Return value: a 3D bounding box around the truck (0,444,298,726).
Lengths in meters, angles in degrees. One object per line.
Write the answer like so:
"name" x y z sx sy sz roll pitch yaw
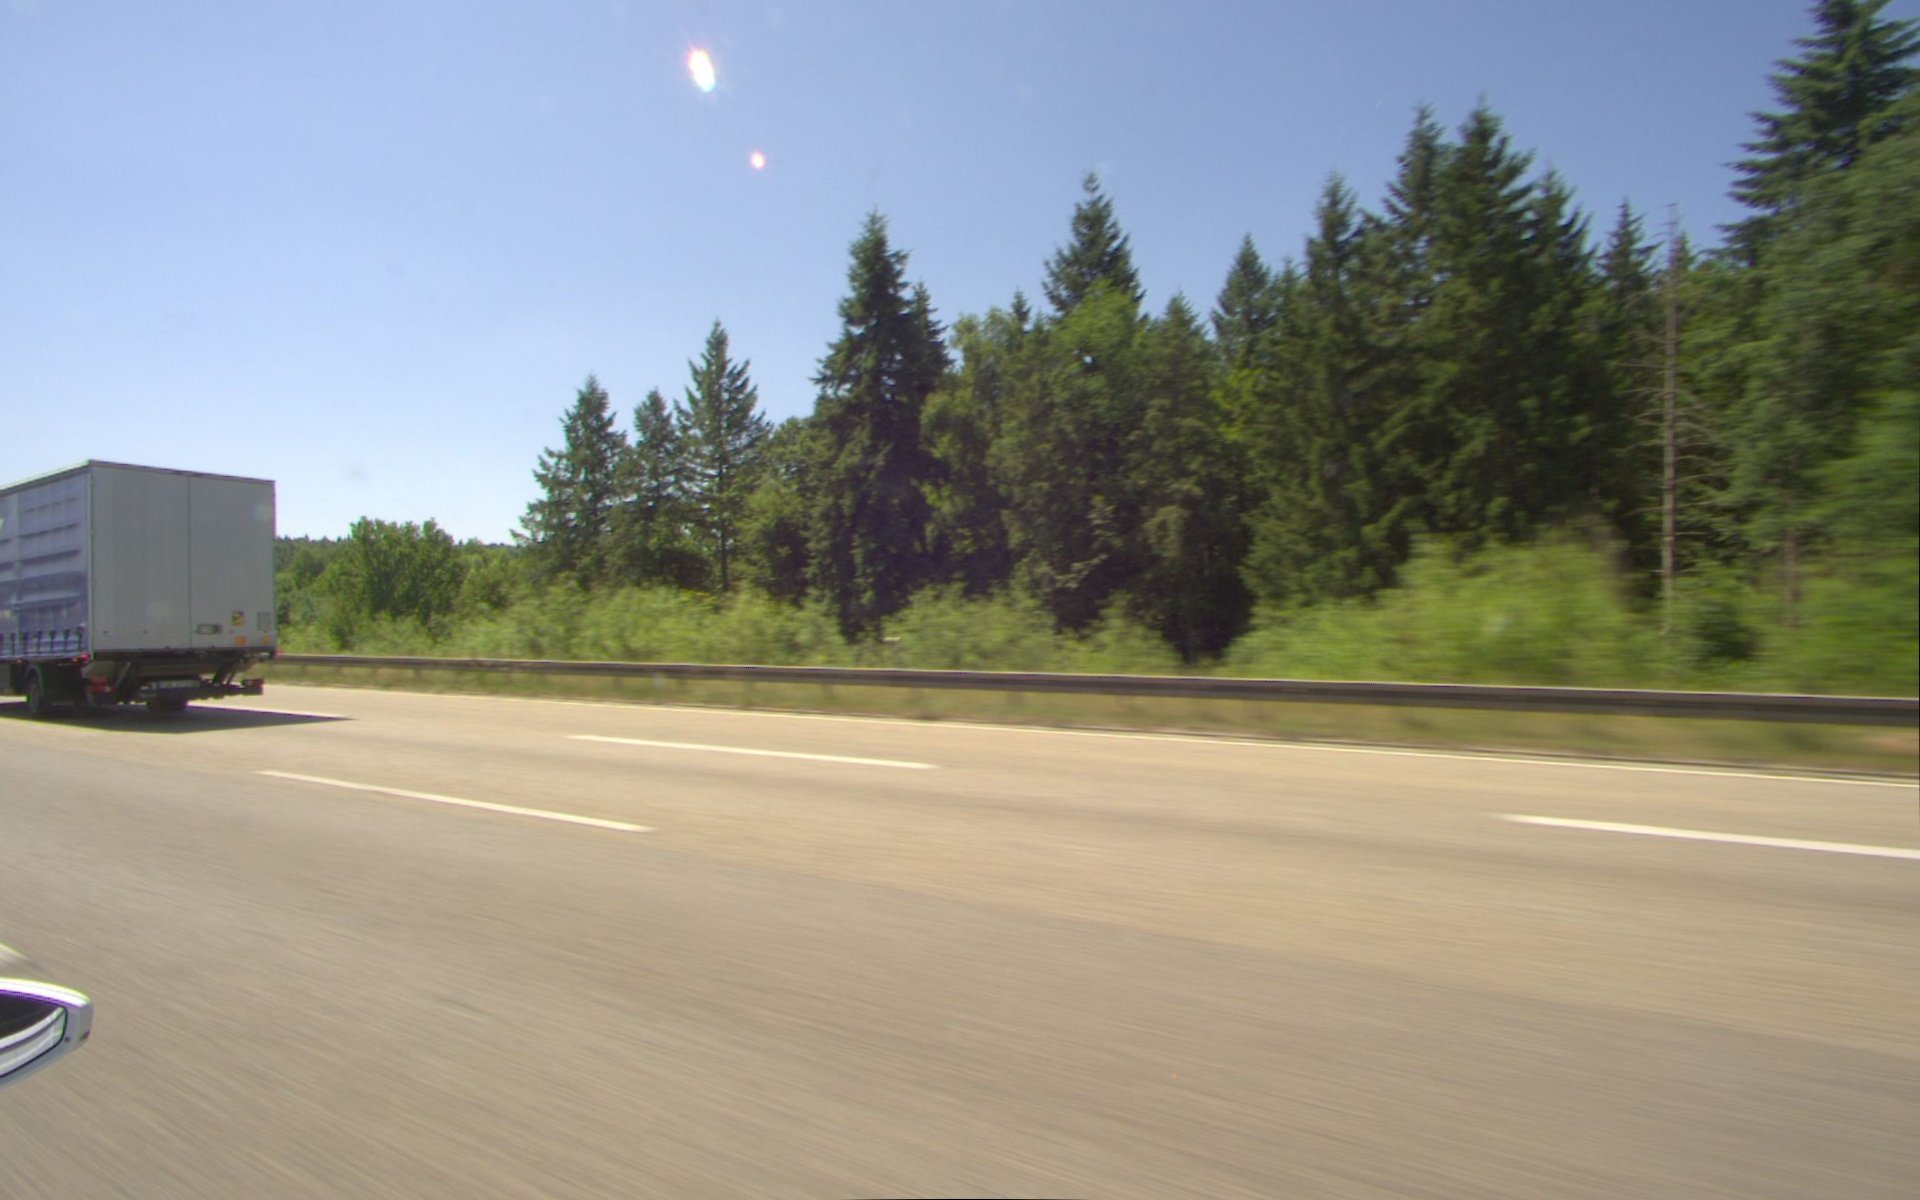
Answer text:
"truck" -16.206 -0.094 18.527 9.598 4.181 2.779 -1 -2 31
